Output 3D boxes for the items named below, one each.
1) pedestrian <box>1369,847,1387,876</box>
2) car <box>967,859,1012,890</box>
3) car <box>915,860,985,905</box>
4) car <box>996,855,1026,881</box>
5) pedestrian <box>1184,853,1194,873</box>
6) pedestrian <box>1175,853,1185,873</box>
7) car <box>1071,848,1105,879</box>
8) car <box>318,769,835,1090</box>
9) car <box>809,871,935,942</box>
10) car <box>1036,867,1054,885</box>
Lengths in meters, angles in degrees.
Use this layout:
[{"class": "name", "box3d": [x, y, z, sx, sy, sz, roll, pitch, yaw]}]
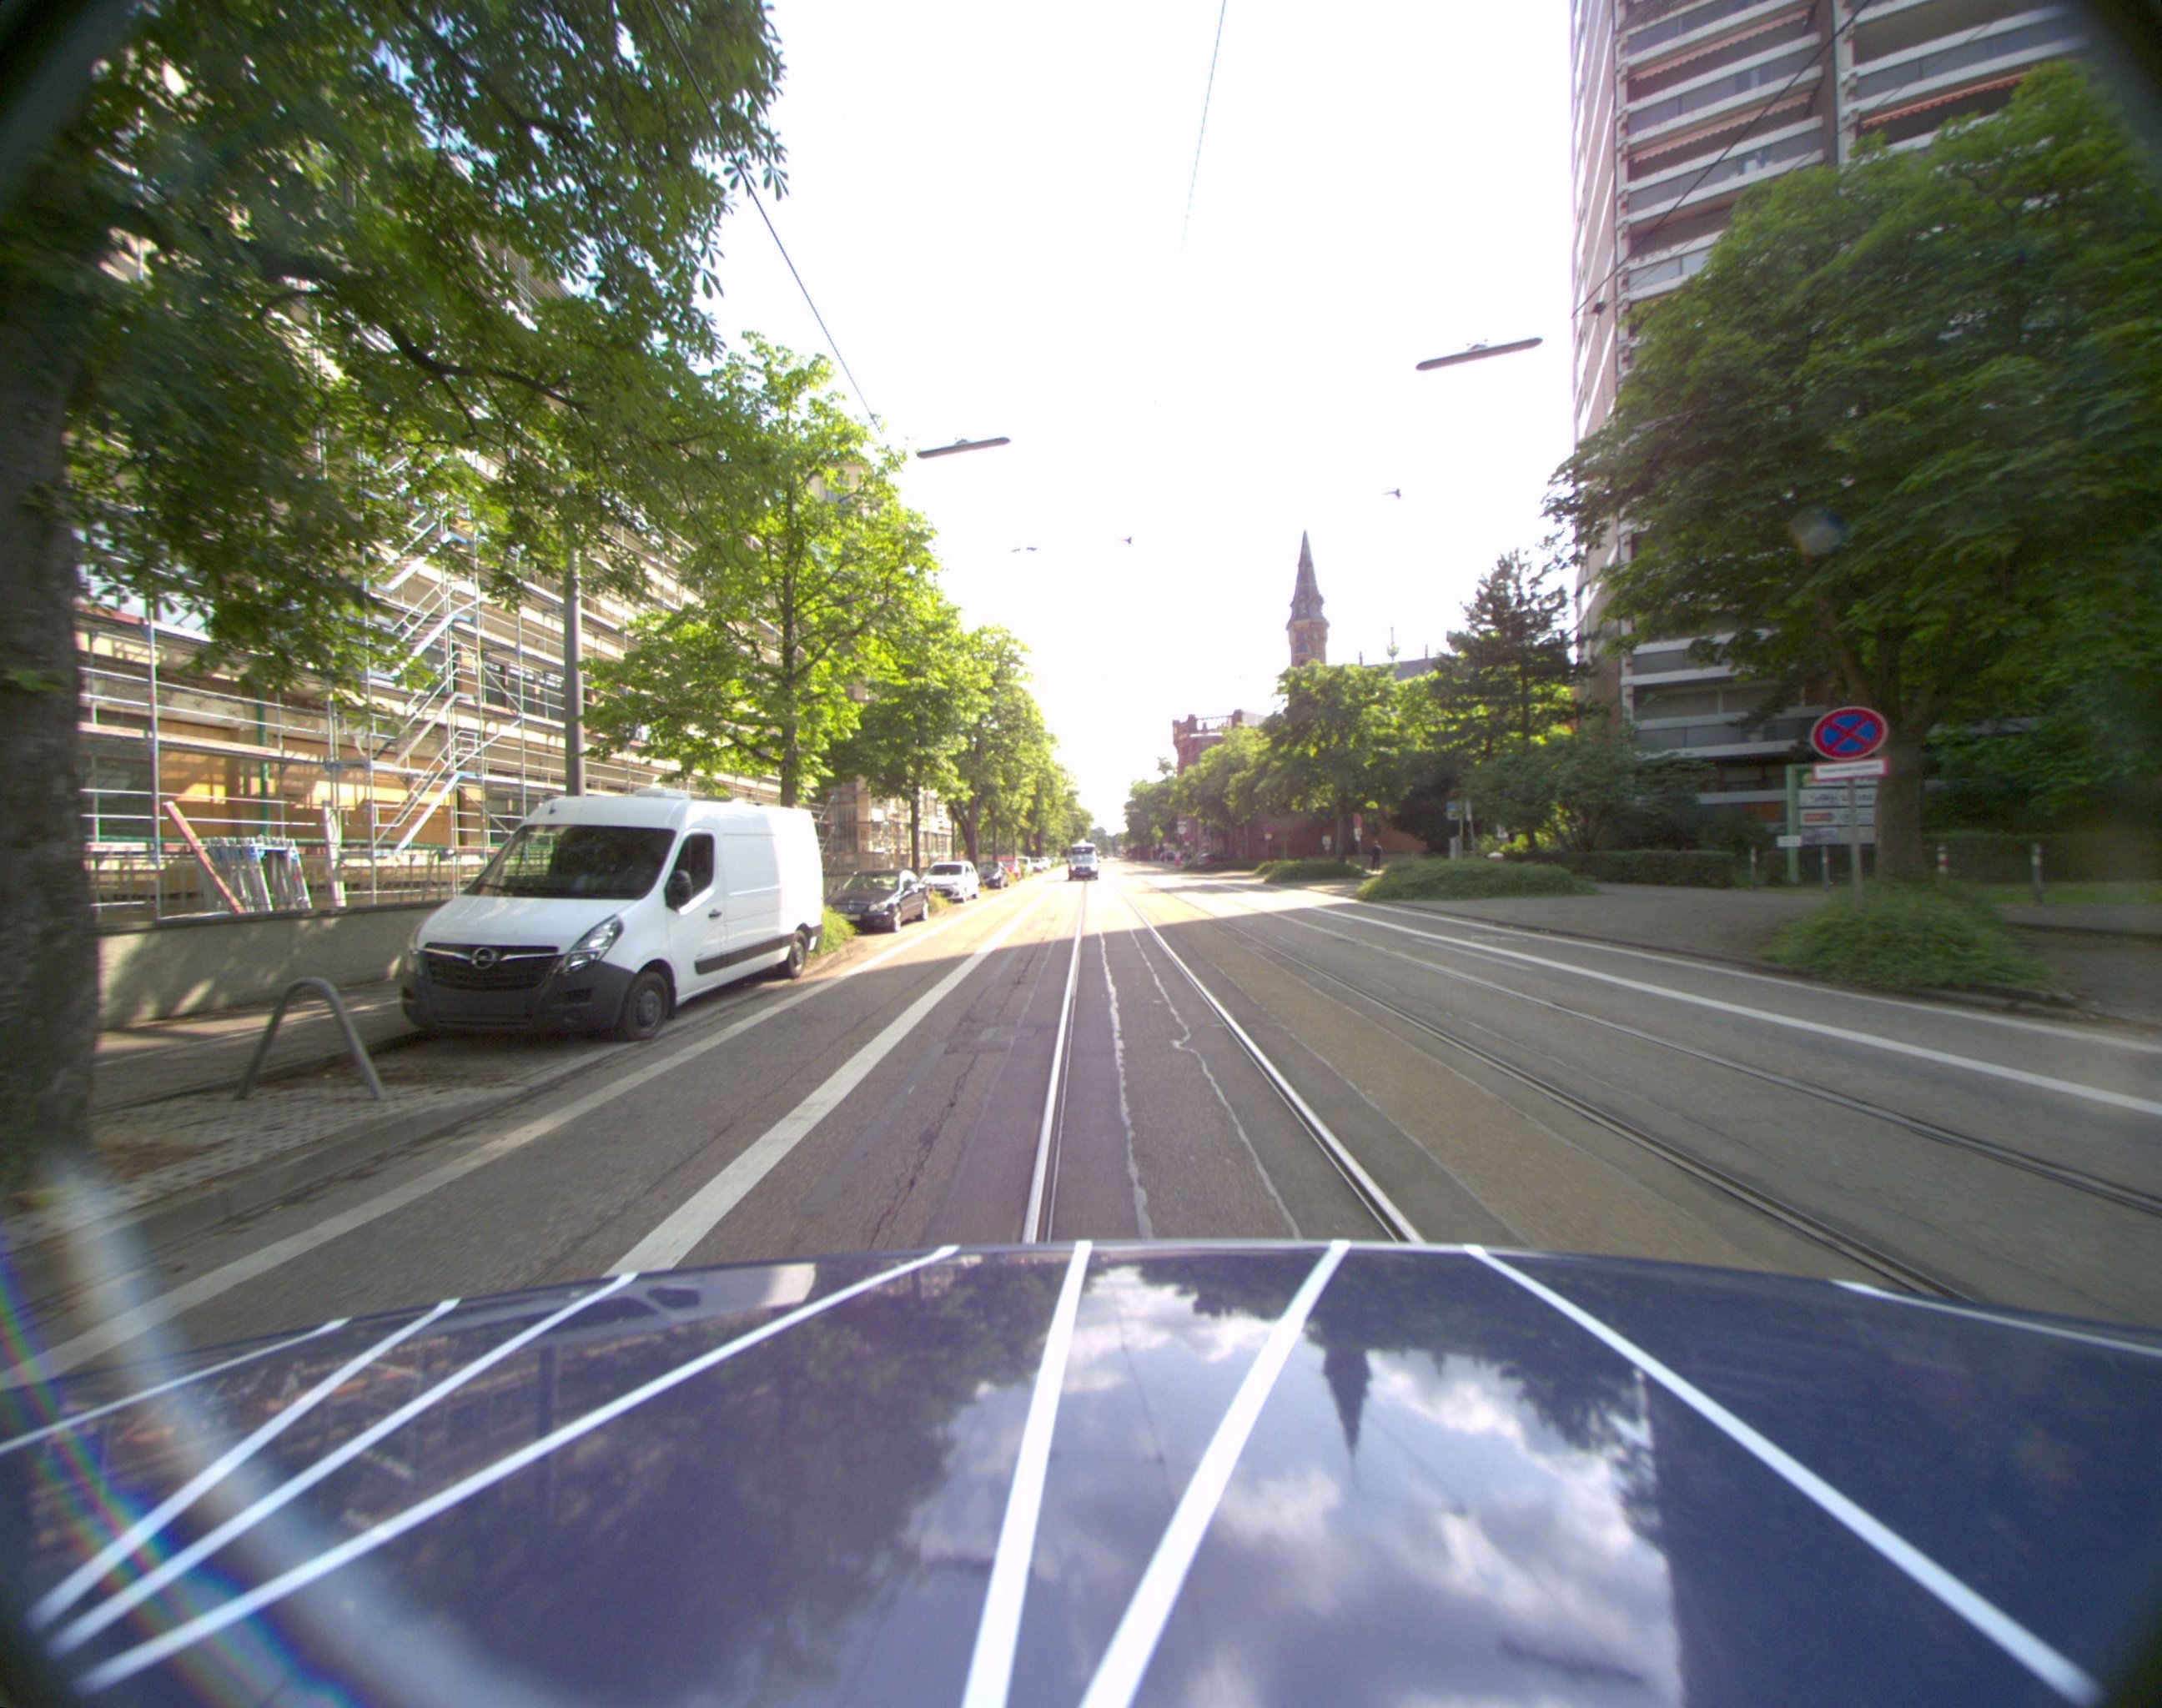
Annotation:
[{"class": "pedestrian", "box3d": [16.639, 0.410, 42.542, 0.764, 1.620, 0.738, -2, 1, 10]}, {"class": "car", "box3d": [-4.538, 0.997, 38.228, 1.737, 1.390, 3.630, -2, 0, 1]}, {"class": "car", "box3d": [-4.765, 0.990, 28.146, 1.568, 1.448, 3.896, -2, 0, 5]}, {"class": "car", "box3d": [-4.485, 0.859, 49.130, 1.532, 1.565, 3.647, -2, 0, 1]}, {"class": "pedestrian", "box3d": [11.350, 0.942, 79.638, 0.904, 2.002, 1.057, -2, 0, 5]}, {"class": "pedestrian", "box3d": [10.353, 0.958, 79.657, 0.904, 2.002, 1.057, -2, 0, 4]}, {"class": "car", "box3d": [0.389, 0.557, 45.920, 1.945, 1.763, 4.837, -1, -1, -1]}, {"class": "car", "box3d": [-5.076, 0.610, 9.142, 2.128, 2.552, 5.920, 2, 0, 1]}, {"class": "car", "box3d": [-4.878, 1.161, 18.410, 1.739, 1.364, 4.508, 2, 0, 1]}, {"class": "car", "box3d": [-3.540, 2.194, 76.000, 1.532, 1.565, 3.647, -2, 0, 1]}]
